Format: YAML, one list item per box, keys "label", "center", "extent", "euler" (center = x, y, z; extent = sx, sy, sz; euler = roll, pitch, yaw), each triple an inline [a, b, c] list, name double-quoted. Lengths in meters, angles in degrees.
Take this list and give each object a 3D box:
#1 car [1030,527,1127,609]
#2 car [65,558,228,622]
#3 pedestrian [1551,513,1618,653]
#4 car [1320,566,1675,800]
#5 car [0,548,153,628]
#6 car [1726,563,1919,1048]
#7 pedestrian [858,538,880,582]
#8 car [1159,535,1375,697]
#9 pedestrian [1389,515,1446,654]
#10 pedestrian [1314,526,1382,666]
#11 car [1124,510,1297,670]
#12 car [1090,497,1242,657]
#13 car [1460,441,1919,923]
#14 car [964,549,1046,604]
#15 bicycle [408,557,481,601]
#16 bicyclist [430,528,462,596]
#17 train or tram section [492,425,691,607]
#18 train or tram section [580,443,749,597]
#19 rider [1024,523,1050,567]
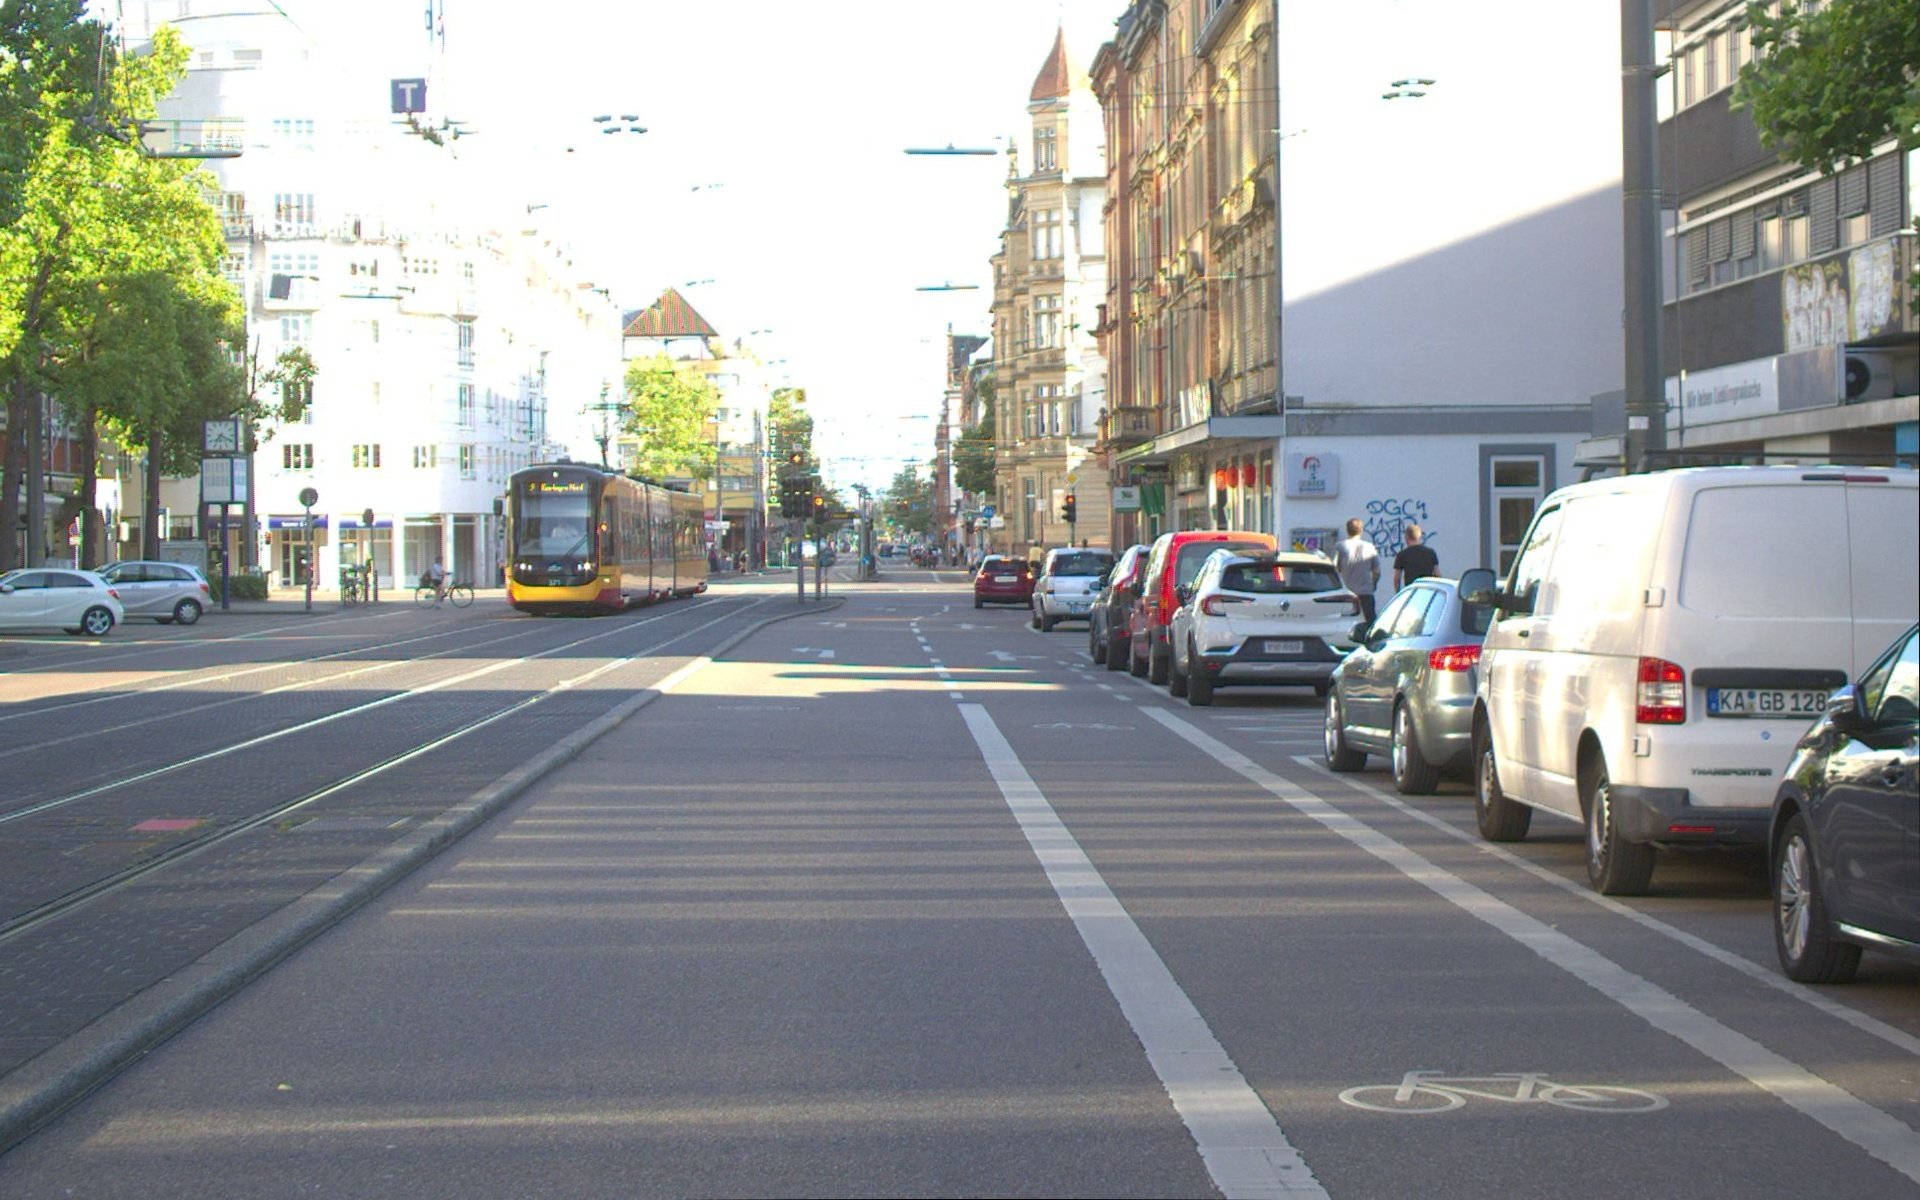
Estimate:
- label: "car"
  center: [2.343, -0.655, 68.600]
  extent: [1.621, 1.550, 4.083]
  euler: [2, 1, -2]
- label: "car"
  center: [-19.925, -0.244, 84.252]
  extent: [3.519, 1.476, 1.582]
  euler: [1, 1, -33]
- label: "pedestrian"
  center: [7.732, -0.213, 42.597]
  extent: [0.661, 1.716, 0.835]
  euler: [0, 1, 0]
- label: "car"
  center: [3.518, 0.494, 23.154]
  extent: [1.621, 1.366, 3.931]
  euler: [2, 1, -2]
- label: "car"
  center: [-19.522, -0.272, 73.795]
  extent: [3.869, 1.622, 1.875]
  euler: [1, 1, -32]
- label: "car"
  center: [3.751, 0.639, 11.024]
  extent: [1.621, 1.468, 3.971]
  euler: [1, 1, -1]
- label: "pedestrian"
  center: [-4.179, -1.850, 158.328]
  extent: [0.920, 2.007, 0.759]
  euler: [2, 1, -1]
- label: "car"
  center: [3.115, 0.118, 35.608]
  extent: [1.723, 1.562, 4.083]
  euler: [-1, 1, -2]
- label: "pedestrian"
  center: [5.680, -0.195, 42.709]
  extent: [0.624, 1.716, 0.628]
  euler: [0, 1, 0]
- label: "pedestrian"
  center: [4.795, -0.055, 42.502]
  extent: [0.730, 1.716, 0.835]
  euler: [0, 1, 0]
- label: "car"
  center: [2.985, -0.150, 41.695]
  extent: [1.621, 1.807, 4.083]
  euler: [2, 1, -2]
- label: "car"
  center: [2.708, -0.324, 45.929]
  extent: [1.621, 2.000, 3.831]
  euler: [2, 1, -2]
- label: "car"
  center: [3.811, 0.296, 16.850]
  extent: [1.971, 2.007, 4.558]
  euler: [-2, 1, 0]
- label: "car"
  center: [1.222, -0.673, 95.162]
  extent: [2.065, 1.384, 4.225]
  euler: [2, 1, -2]
- label: "bicycle"
  center: [-15.460, -0.618, 103.137]
  extent: [2.020, 1.235, 0.700]
  euler: [2, 1, 6]
- label: "bicyclist"
  center: [-15.427, -1.136, 103.129]
  extent: [0.722, 2.007, 0.700]
  euler: [2, 1, 6]
- label: "train or tram section"
  center: [-8.679, -1.963, 82.559]
  extent: [2.692, 3.946, 12.089]
  euler: [2, 1, 3]
- label: "train or tram section"
  center: [-8.009, -2.142, 94.992]
  extent: [2.692, 3.865, 12.843]
  euler: [2, 1, 3]
- label: "rider"
  center: [2.636, -1.881, 117.521]
  extent: [0.711, 1.476, 0.886]
  euler: [2, 1, 12]
